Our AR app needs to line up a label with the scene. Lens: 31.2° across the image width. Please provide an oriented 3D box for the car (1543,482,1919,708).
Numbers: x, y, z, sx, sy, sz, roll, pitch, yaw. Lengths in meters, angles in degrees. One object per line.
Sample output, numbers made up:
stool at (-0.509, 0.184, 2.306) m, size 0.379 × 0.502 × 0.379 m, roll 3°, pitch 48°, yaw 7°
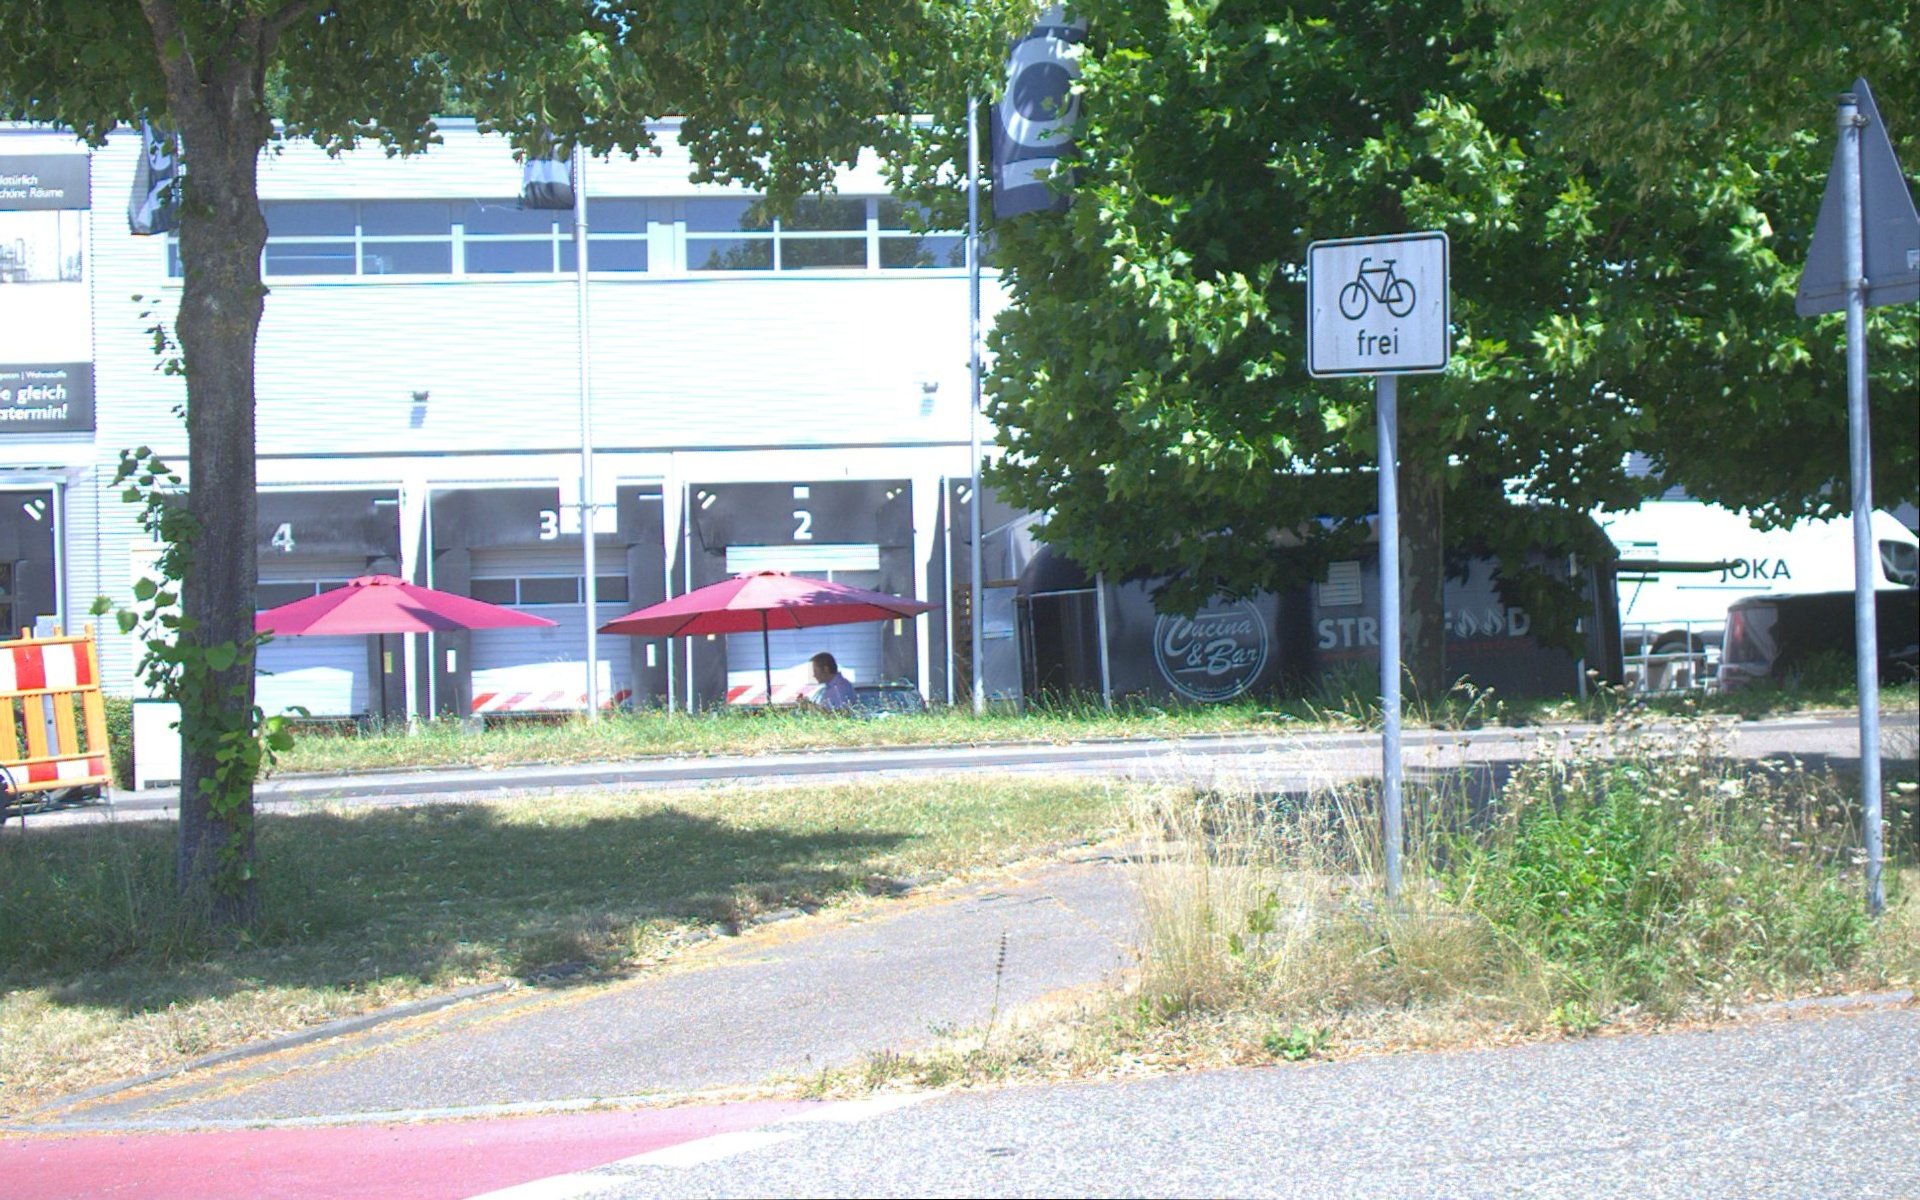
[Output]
car at (7.193, -0.068, 29.256) m, size 3.986 × 1.722 × 1.841 m, roll -3°, pitch 0°, yaw -5°

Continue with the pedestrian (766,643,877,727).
pedestrian at (-1.230, 0.753, 30.491) m, size 0.864 × 0.693 × 0.407 m, roll -3°, pitch 0°, yaw 17°
